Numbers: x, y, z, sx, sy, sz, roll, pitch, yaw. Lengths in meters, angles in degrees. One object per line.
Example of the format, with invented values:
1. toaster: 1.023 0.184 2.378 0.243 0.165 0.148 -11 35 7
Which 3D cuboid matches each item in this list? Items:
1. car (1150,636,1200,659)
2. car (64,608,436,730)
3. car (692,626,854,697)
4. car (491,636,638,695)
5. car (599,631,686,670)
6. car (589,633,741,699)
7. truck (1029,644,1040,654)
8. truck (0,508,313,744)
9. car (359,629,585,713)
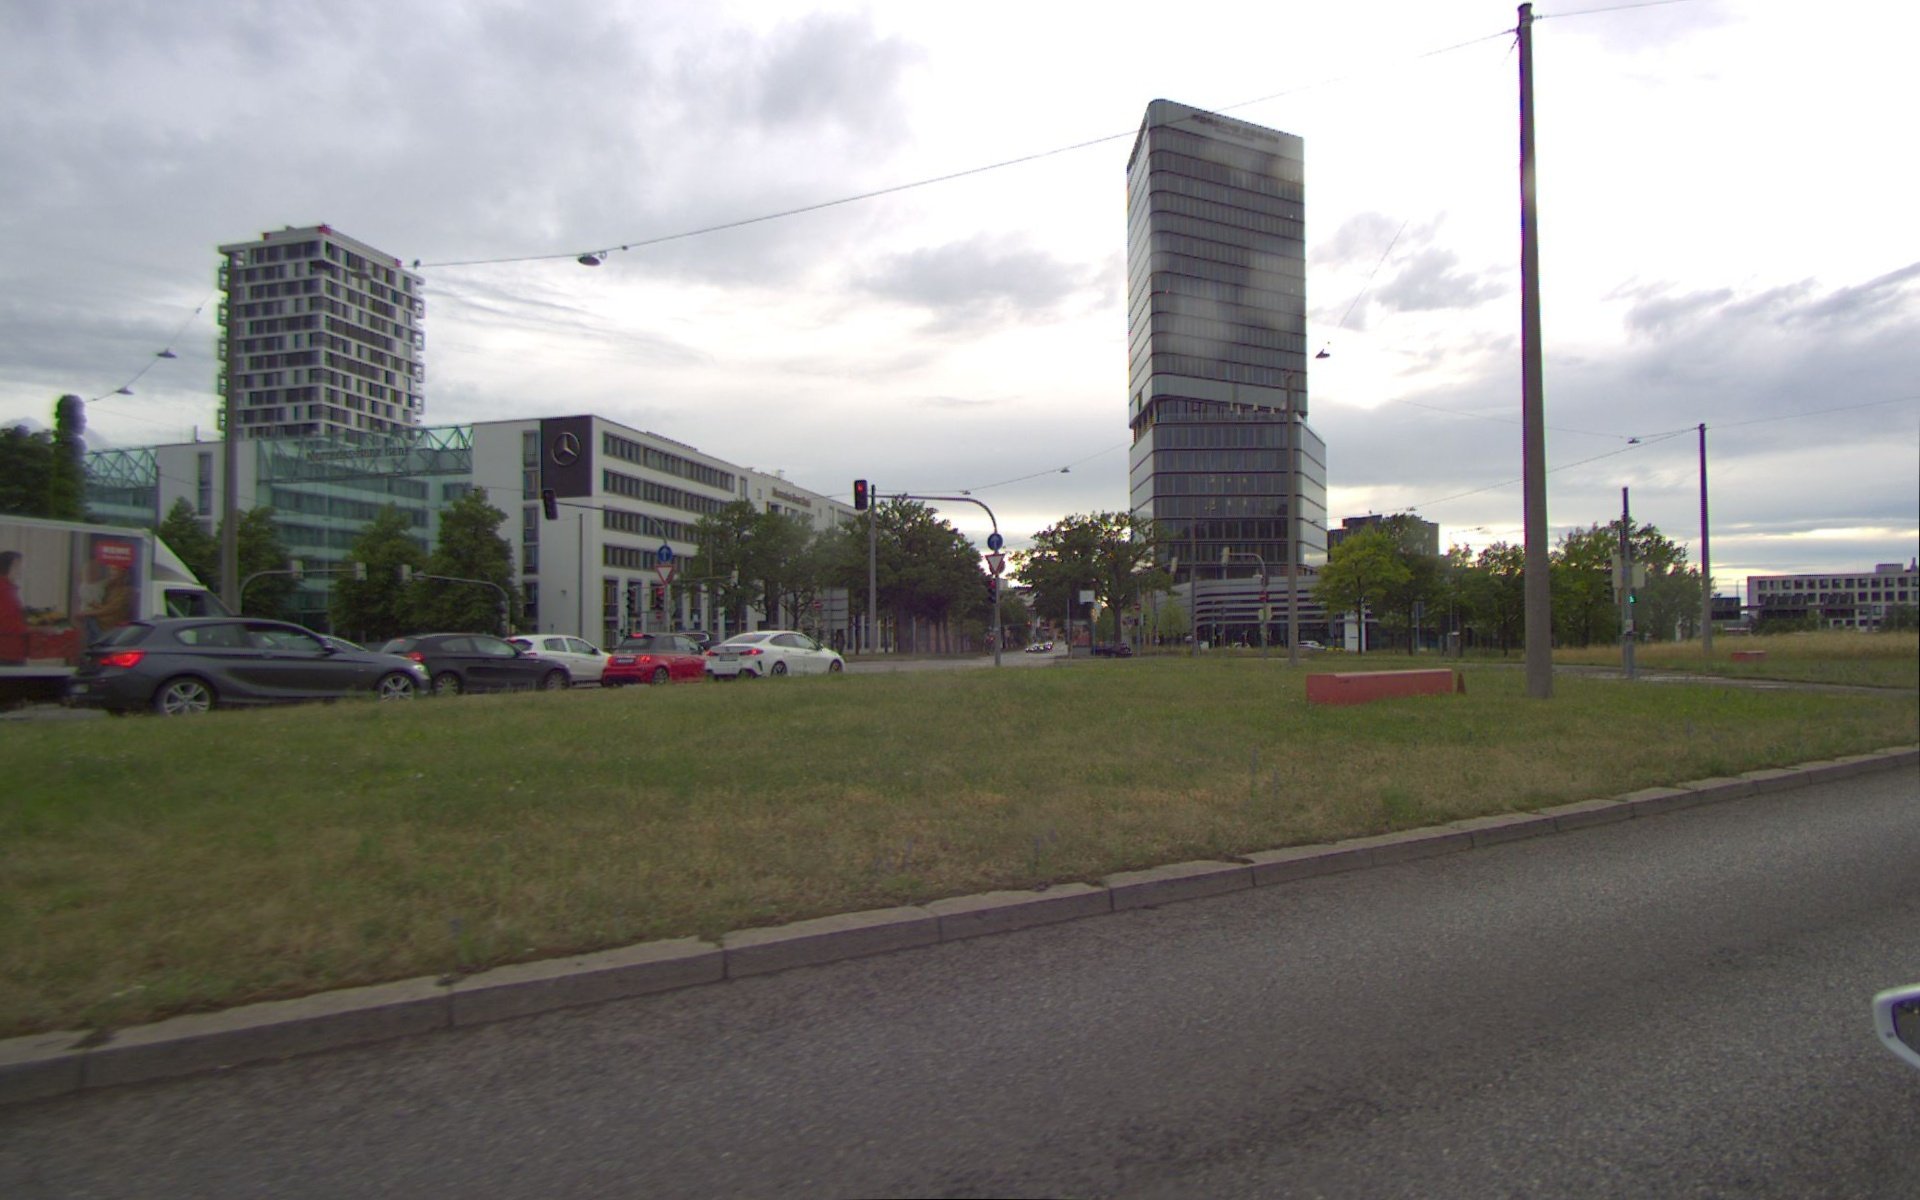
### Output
1. car: 15.765 3.453 73.648 3.499 1.581 1.648 0 -1 15
2. car: -9.935 0.889 14.352 1.844 1.480 3.965 -2 -2 34
3. car: -4.644 1.547 25.689 1.889 1.665 4.389 -1 -3 24
4. car: -10.862 1.789 27.871 1.553 1.499 3.773 -1 -3 24
5. car: -14.539 2.289 46.014 3.687 1.639 1.737 0 0 -23
6. car: -7.860 1.749 27.177 1.785 1.644 3.998 -1 -3 24
7. truck: 15.989 10.395 214.681 1.961 2.040 4.000 0 -2 -1
8. truck: -14.019 0.381 15.318 2.627 3.262 6.538 0 -1 29
9. car: -10.372 1.442 21.631 1.964 1.587 3.993 -1 -1 29
